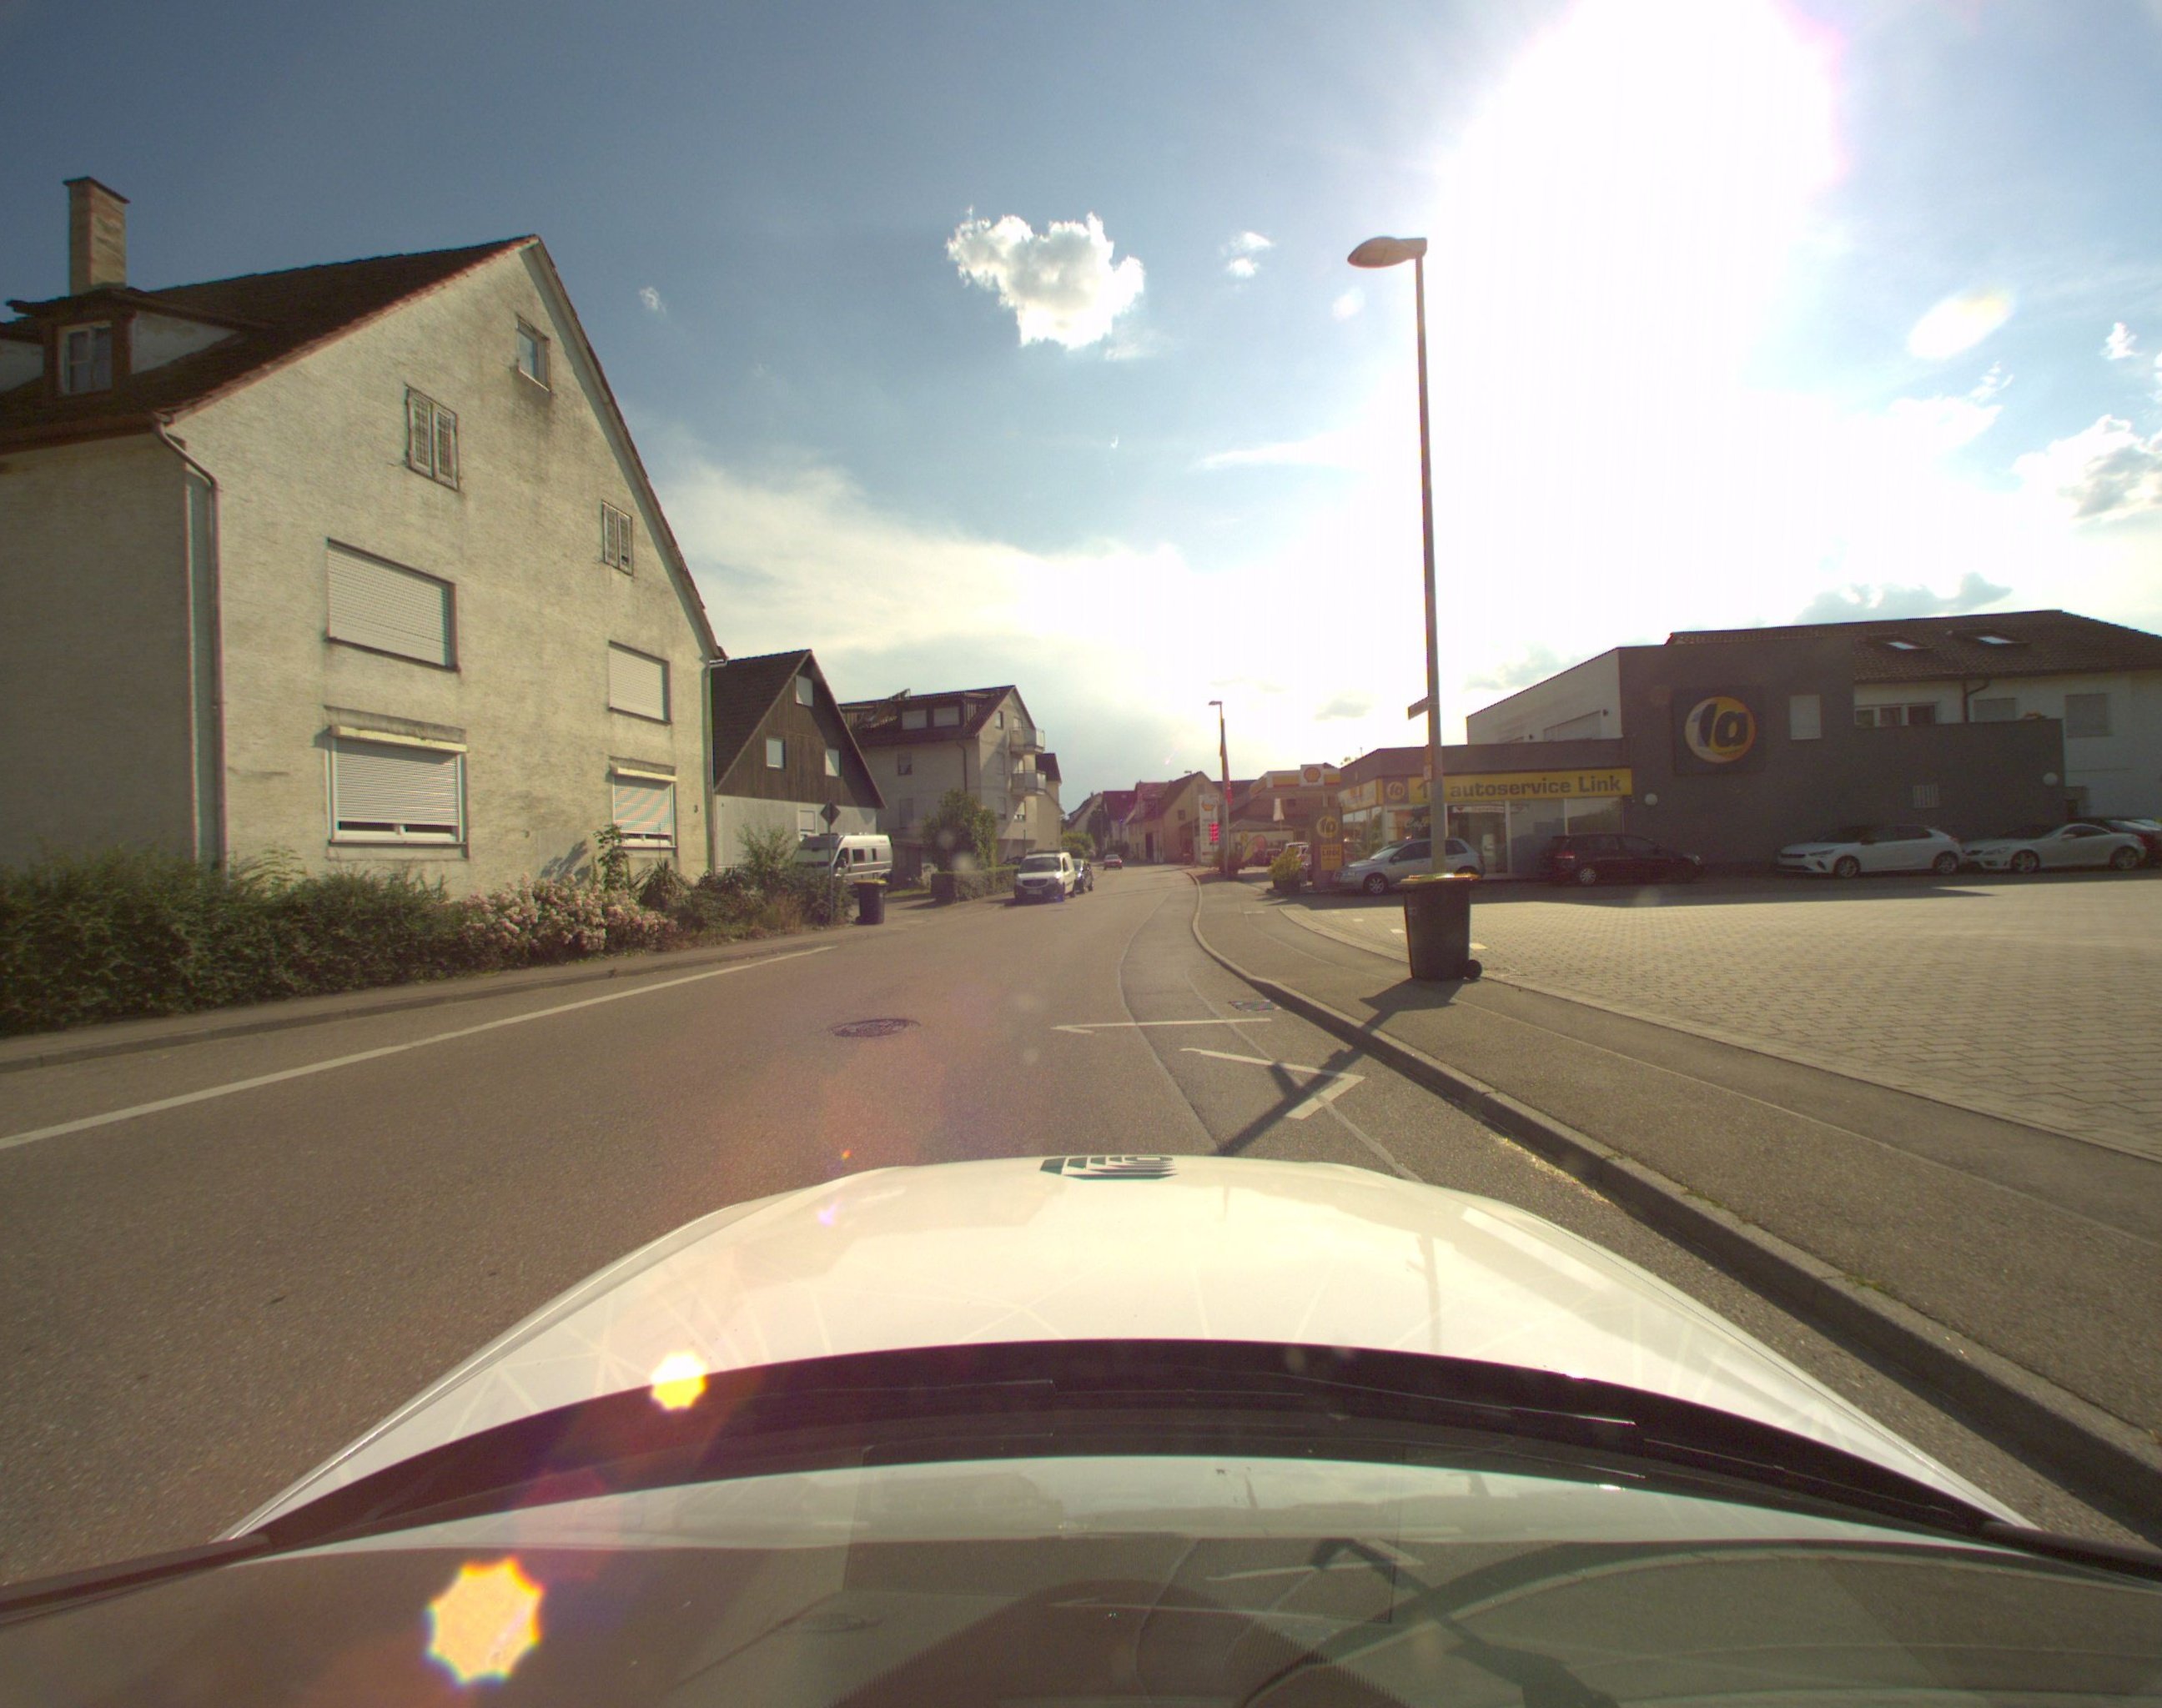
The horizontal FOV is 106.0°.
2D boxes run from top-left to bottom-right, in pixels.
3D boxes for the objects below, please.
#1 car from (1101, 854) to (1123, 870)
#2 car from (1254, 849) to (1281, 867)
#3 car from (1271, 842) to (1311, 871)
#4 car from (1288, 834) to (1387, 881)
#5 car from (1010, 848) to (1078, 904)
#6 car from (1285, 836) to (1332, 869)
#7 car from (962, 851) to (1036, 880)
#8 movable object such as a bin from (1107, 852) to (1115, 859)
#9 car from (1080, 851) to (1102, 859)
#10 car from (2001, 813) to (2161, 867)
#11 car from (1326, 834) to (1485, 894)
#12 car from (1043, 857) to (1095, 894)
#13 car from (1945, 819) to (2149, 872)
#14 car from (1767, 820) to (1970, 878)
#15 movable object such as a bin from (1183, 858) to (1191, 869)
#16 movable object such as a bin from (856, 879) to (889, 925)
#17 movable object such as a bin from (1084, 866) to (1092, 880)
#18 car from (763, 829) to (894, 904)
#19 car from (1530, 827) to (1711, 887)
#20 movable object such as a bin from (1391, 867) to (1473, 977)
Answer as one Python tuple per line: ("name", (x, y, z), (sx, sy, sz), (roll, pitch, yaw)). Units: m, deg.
("car", (3.050, 0.821, 80.399), (1.705, 1.435, 3.775), (-4, -1, -3))
("car", (15.568, 0.297, 68.031), (1.570, 1.427, 4.387), (-1, 0, 5))
("car", (12.362, 0.151, 48.061), (1.663, 1.577, 4.006), (-3, 0, 6))
("car", (10.580, 0.124, 33.478), (4.096, 1.674, 1.658), (-3, -1, -36))
("car", (-1.285, 0.763, 30.440), (1.707, 1.872, 4.201), (-3, -1, 8))
("car", (11.789, -0.069, 42.447), (1.663, 1.577, 4.006), (-3, 0, 6))
("car", (-4.898, 0.659, 48.747), (3.955, 1.538, 1.771), (2, 1, 18))
("movable object such as a bin", (4.785, 0.262, 129.383), (1.159, 1.168, 0.653), (-2, 0, -6))
("car", (1.790, 0.153, 150.427), (3.977, 1.352, 1.709), (-2, 0, -3))
("car", (29.295, -0.421, 23.347), (1.655, 1.399, 3.816), (-2, 1, 3))
("car", (9.316, 0.283, 23.564), (3.974, 1.531, 1.527), (-2, -1, 0))
("car", (-0.480, 0.896, 35.845), (1.663, 1.451, 3.843), (-3, -1, 8))
("car", (26.006, -0.233, 22.002), (3.739, 1.262, 1.400), (-2, 1, 3))
("car", (21.774, -0.154, 22.639), (3.888, 1.408, 1.718), (-2, 1, 3))
("movable object such as a bin", (10.375, 0.910, 79.741), (0.650, 1.073, 0.513), (-2, 0, 3))
("movable object such as a bin", (-5.142, 1.169, 20.065), (0.607, 1.101, 0.577), (-1, -2, 7))
("movable object such as a bin", (0.561, 1.521, 65.066), (0.529, 1.022, 0.458), (-4, -1, 6))
("car", (-9.568, 0.435, 31.597), (2.144, 2.596, 6.113), (-1, 0, 12))
("car", (14.994, 0.058, 22.773), (3.888, 1.467, 1.718), (-2, 1, 3))
("movable object such as a bin", (3.660, 0.690, 8.525), (0.565, 1.075, 0.573), (-3, -1, 2))
